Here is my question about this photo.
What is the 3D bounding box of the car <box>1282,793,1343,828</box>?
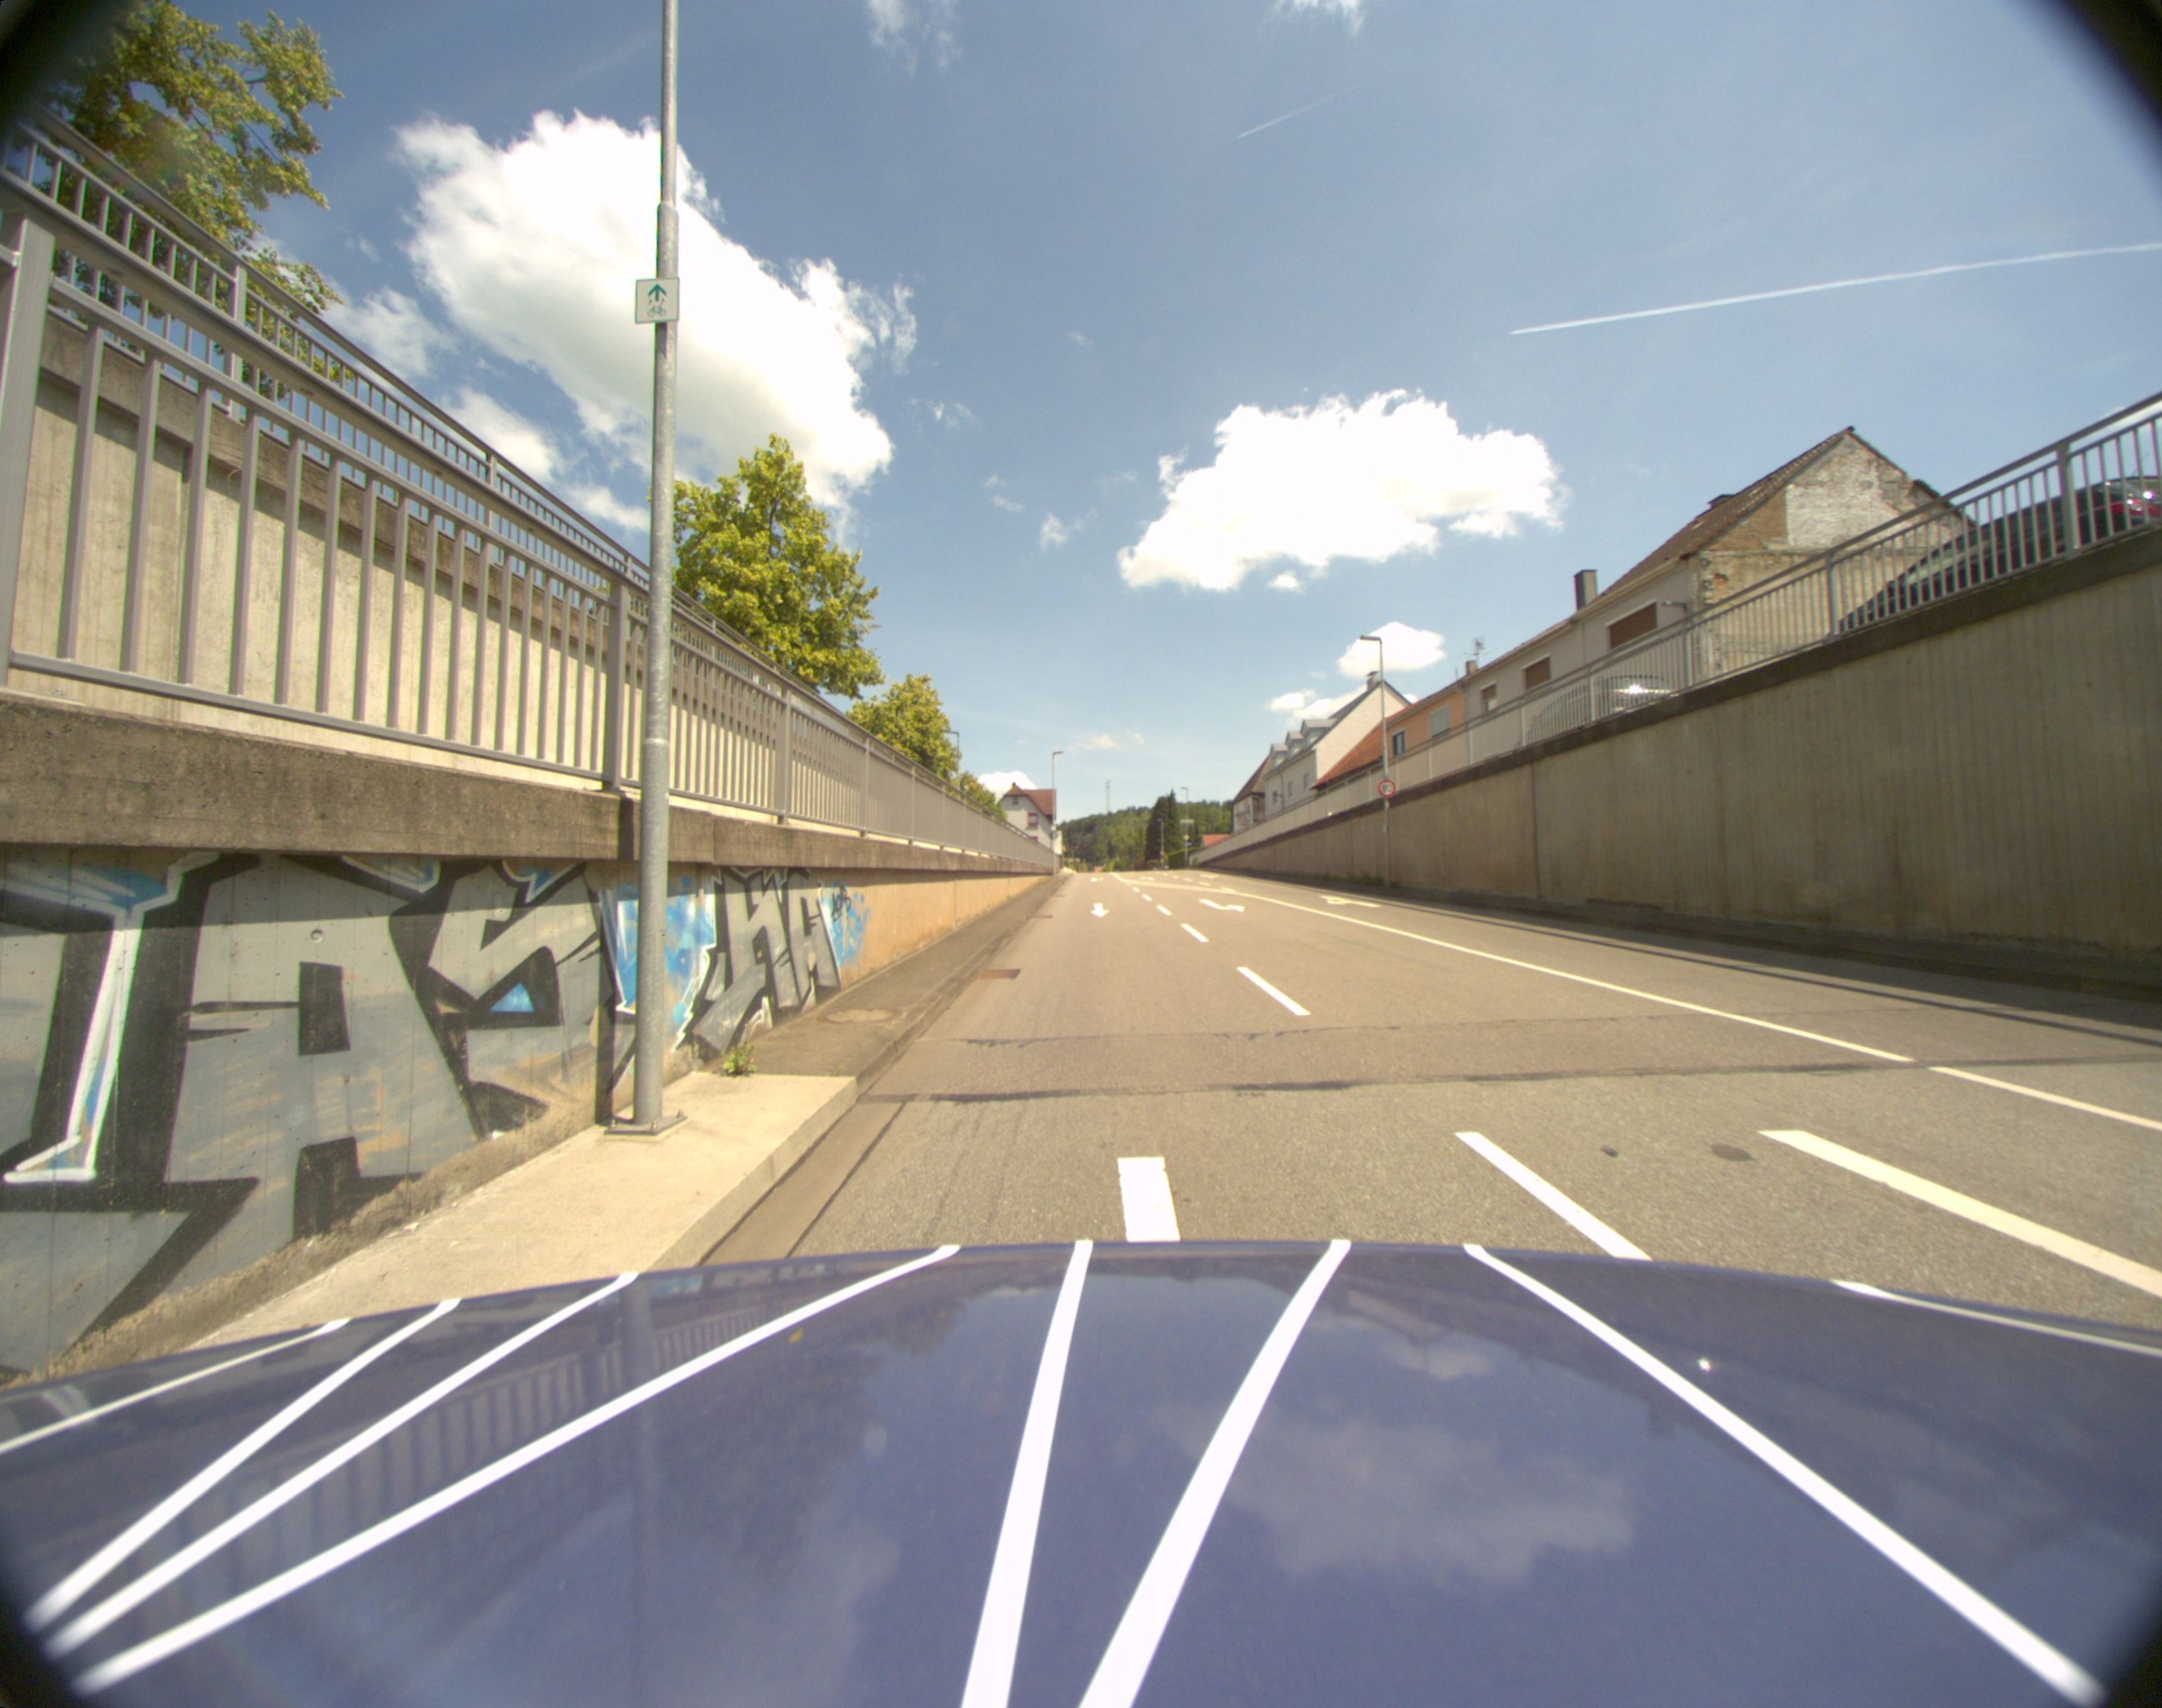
[{"bbox_3d":[12.051,-2.238,39.871,1.790,1.396,4.394,-1,-2,-1],"label":"car"}]

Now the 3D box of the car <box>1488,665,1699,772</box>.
[{"bbox_3d":[11.547,-2.975,17.561,1.803,1.515,4.394,-1,-2,-1],"label":"car"}]

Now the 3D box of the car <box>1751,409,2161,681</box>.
[{"bbox_3d":[11.617,-3.693,9.969,1.827,1.695,4.223,-1,-2,-1],"label":"car"}]
